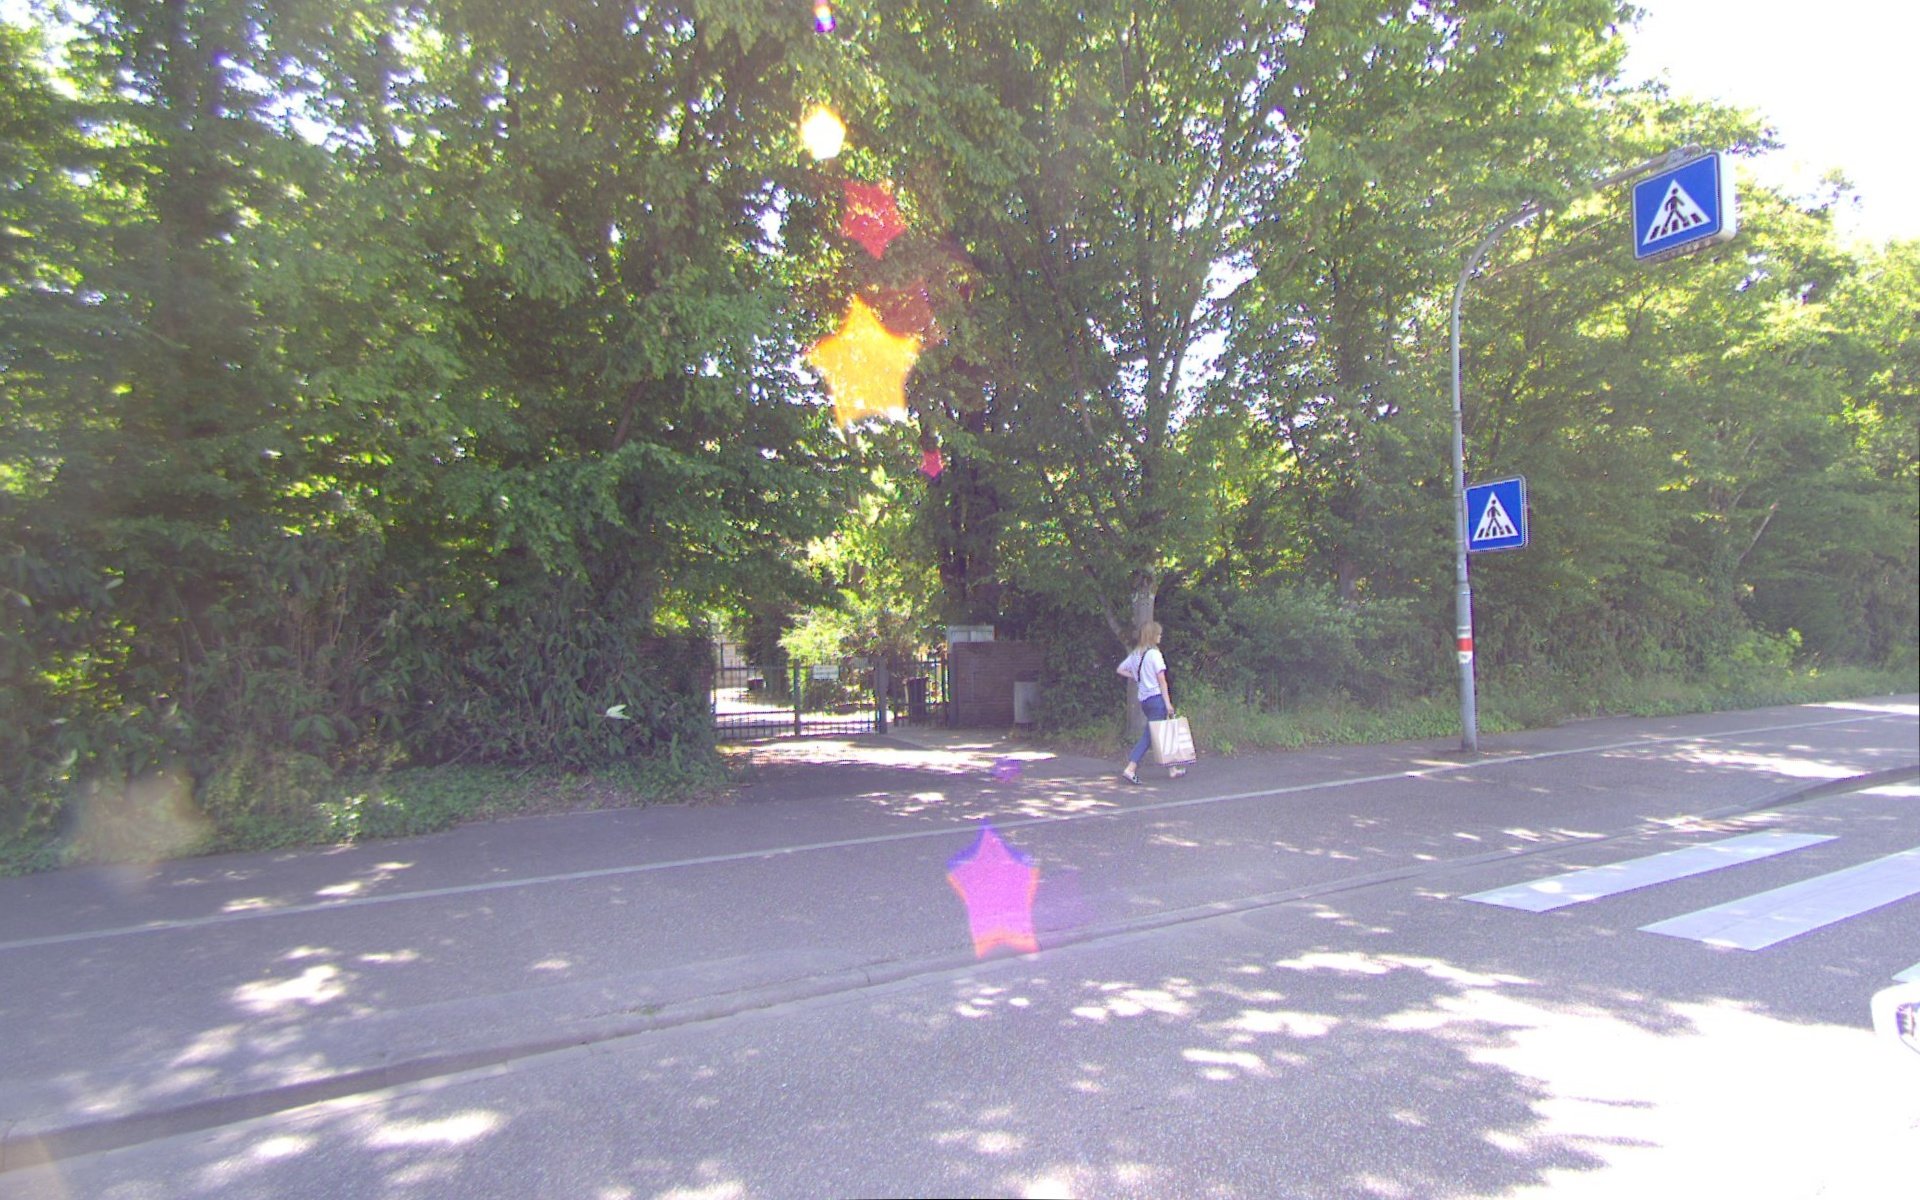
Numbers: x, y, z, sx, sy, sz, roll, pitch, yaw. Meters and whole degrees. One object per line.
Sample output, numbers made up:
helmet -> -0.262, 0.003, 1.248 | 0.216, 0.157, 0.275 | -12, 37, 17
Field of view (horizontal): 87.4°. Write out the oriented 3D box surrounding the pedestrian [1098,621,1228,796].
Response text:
pedestrian -> 2.033, 1.040, 10.109 | 0.875, 1.634, 0.928 | 0, -1, -30
